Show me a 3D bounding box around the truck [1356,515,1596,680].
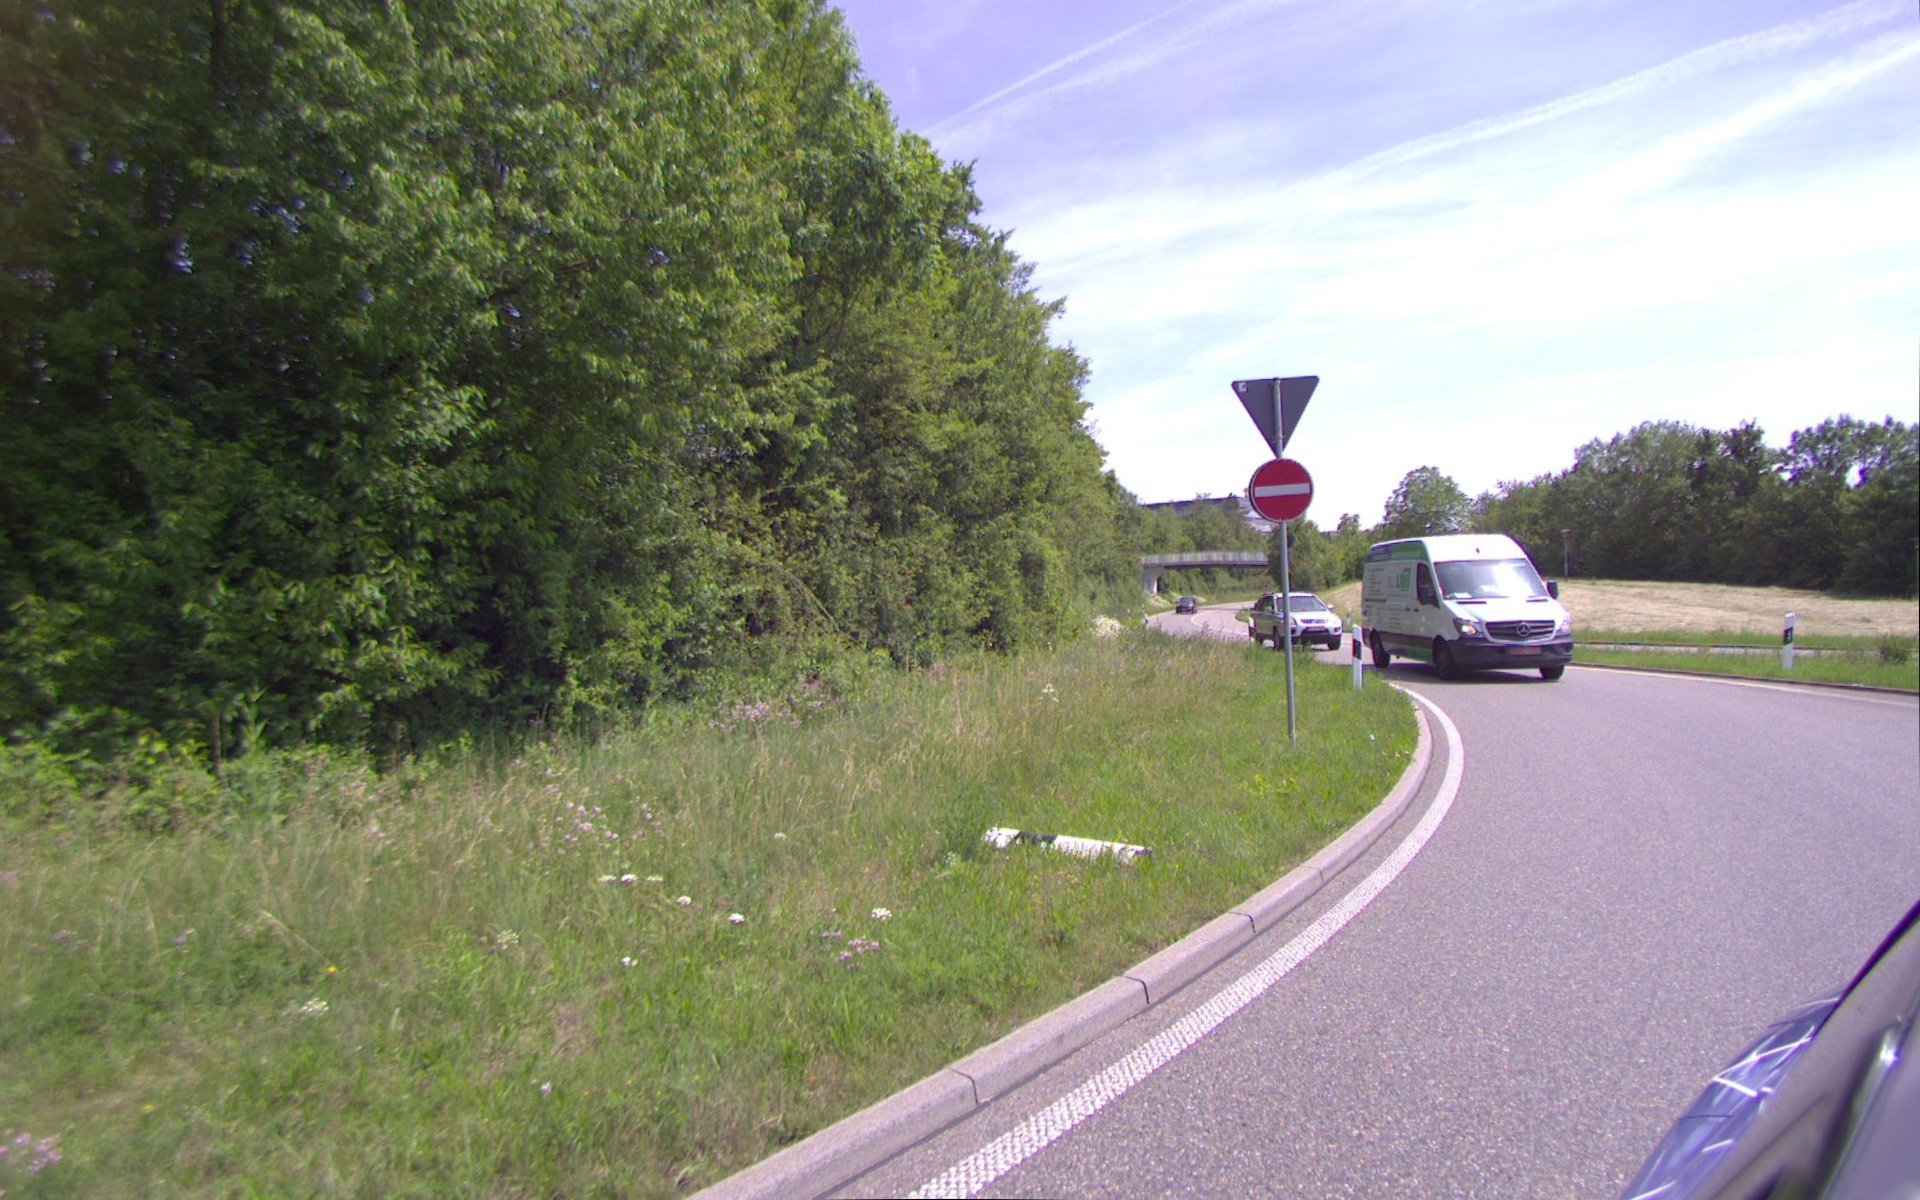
[{"bbox_3d":[9.479,-0.039,19.302,1.965,2.619,5.878,-1,0,5],"label":"truck"}]

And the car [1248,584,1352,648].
[{"bbox_3d":[10.020,0.454,30.168,1.816,1.730,4.085,-1,-1,3],"label":"car"}]

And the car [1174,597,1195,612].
[{"bbox_3d":[22.493,0.488,101.370,1.932,1.440,3.918,0,0,15],"label":"car"}]
